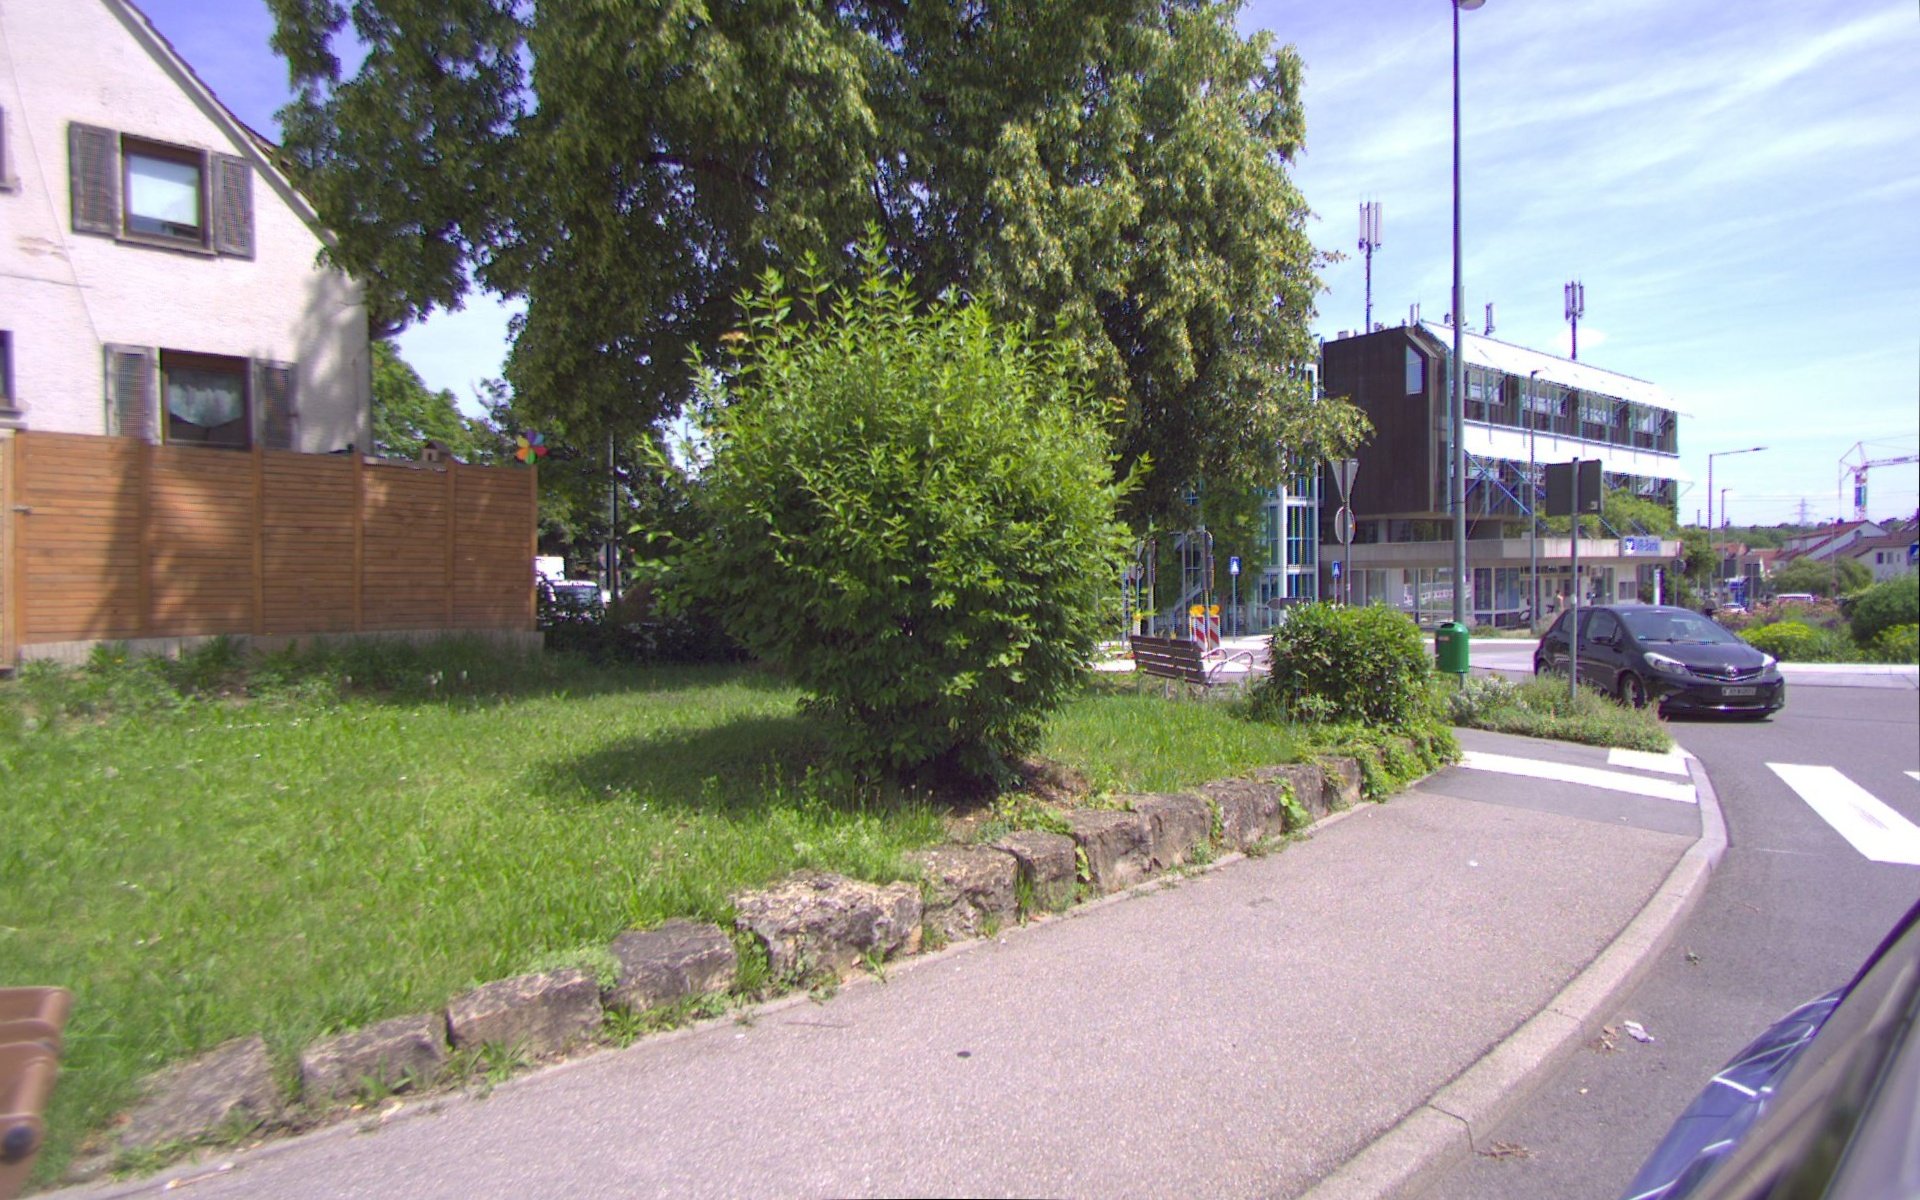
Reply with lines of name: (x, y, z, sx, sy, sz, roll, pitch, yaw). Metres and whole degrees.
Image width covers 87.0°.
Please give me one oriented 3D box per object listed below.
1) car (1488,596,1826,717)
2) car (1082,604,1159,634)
car: (9.743, 0.710, 14.688, 1.693, 1.475, 4.431, -1, 0, -2)
car: (9.162, 1.086, 57.835, 4.147, 1.455, 1.864, -3, 1, -34)
